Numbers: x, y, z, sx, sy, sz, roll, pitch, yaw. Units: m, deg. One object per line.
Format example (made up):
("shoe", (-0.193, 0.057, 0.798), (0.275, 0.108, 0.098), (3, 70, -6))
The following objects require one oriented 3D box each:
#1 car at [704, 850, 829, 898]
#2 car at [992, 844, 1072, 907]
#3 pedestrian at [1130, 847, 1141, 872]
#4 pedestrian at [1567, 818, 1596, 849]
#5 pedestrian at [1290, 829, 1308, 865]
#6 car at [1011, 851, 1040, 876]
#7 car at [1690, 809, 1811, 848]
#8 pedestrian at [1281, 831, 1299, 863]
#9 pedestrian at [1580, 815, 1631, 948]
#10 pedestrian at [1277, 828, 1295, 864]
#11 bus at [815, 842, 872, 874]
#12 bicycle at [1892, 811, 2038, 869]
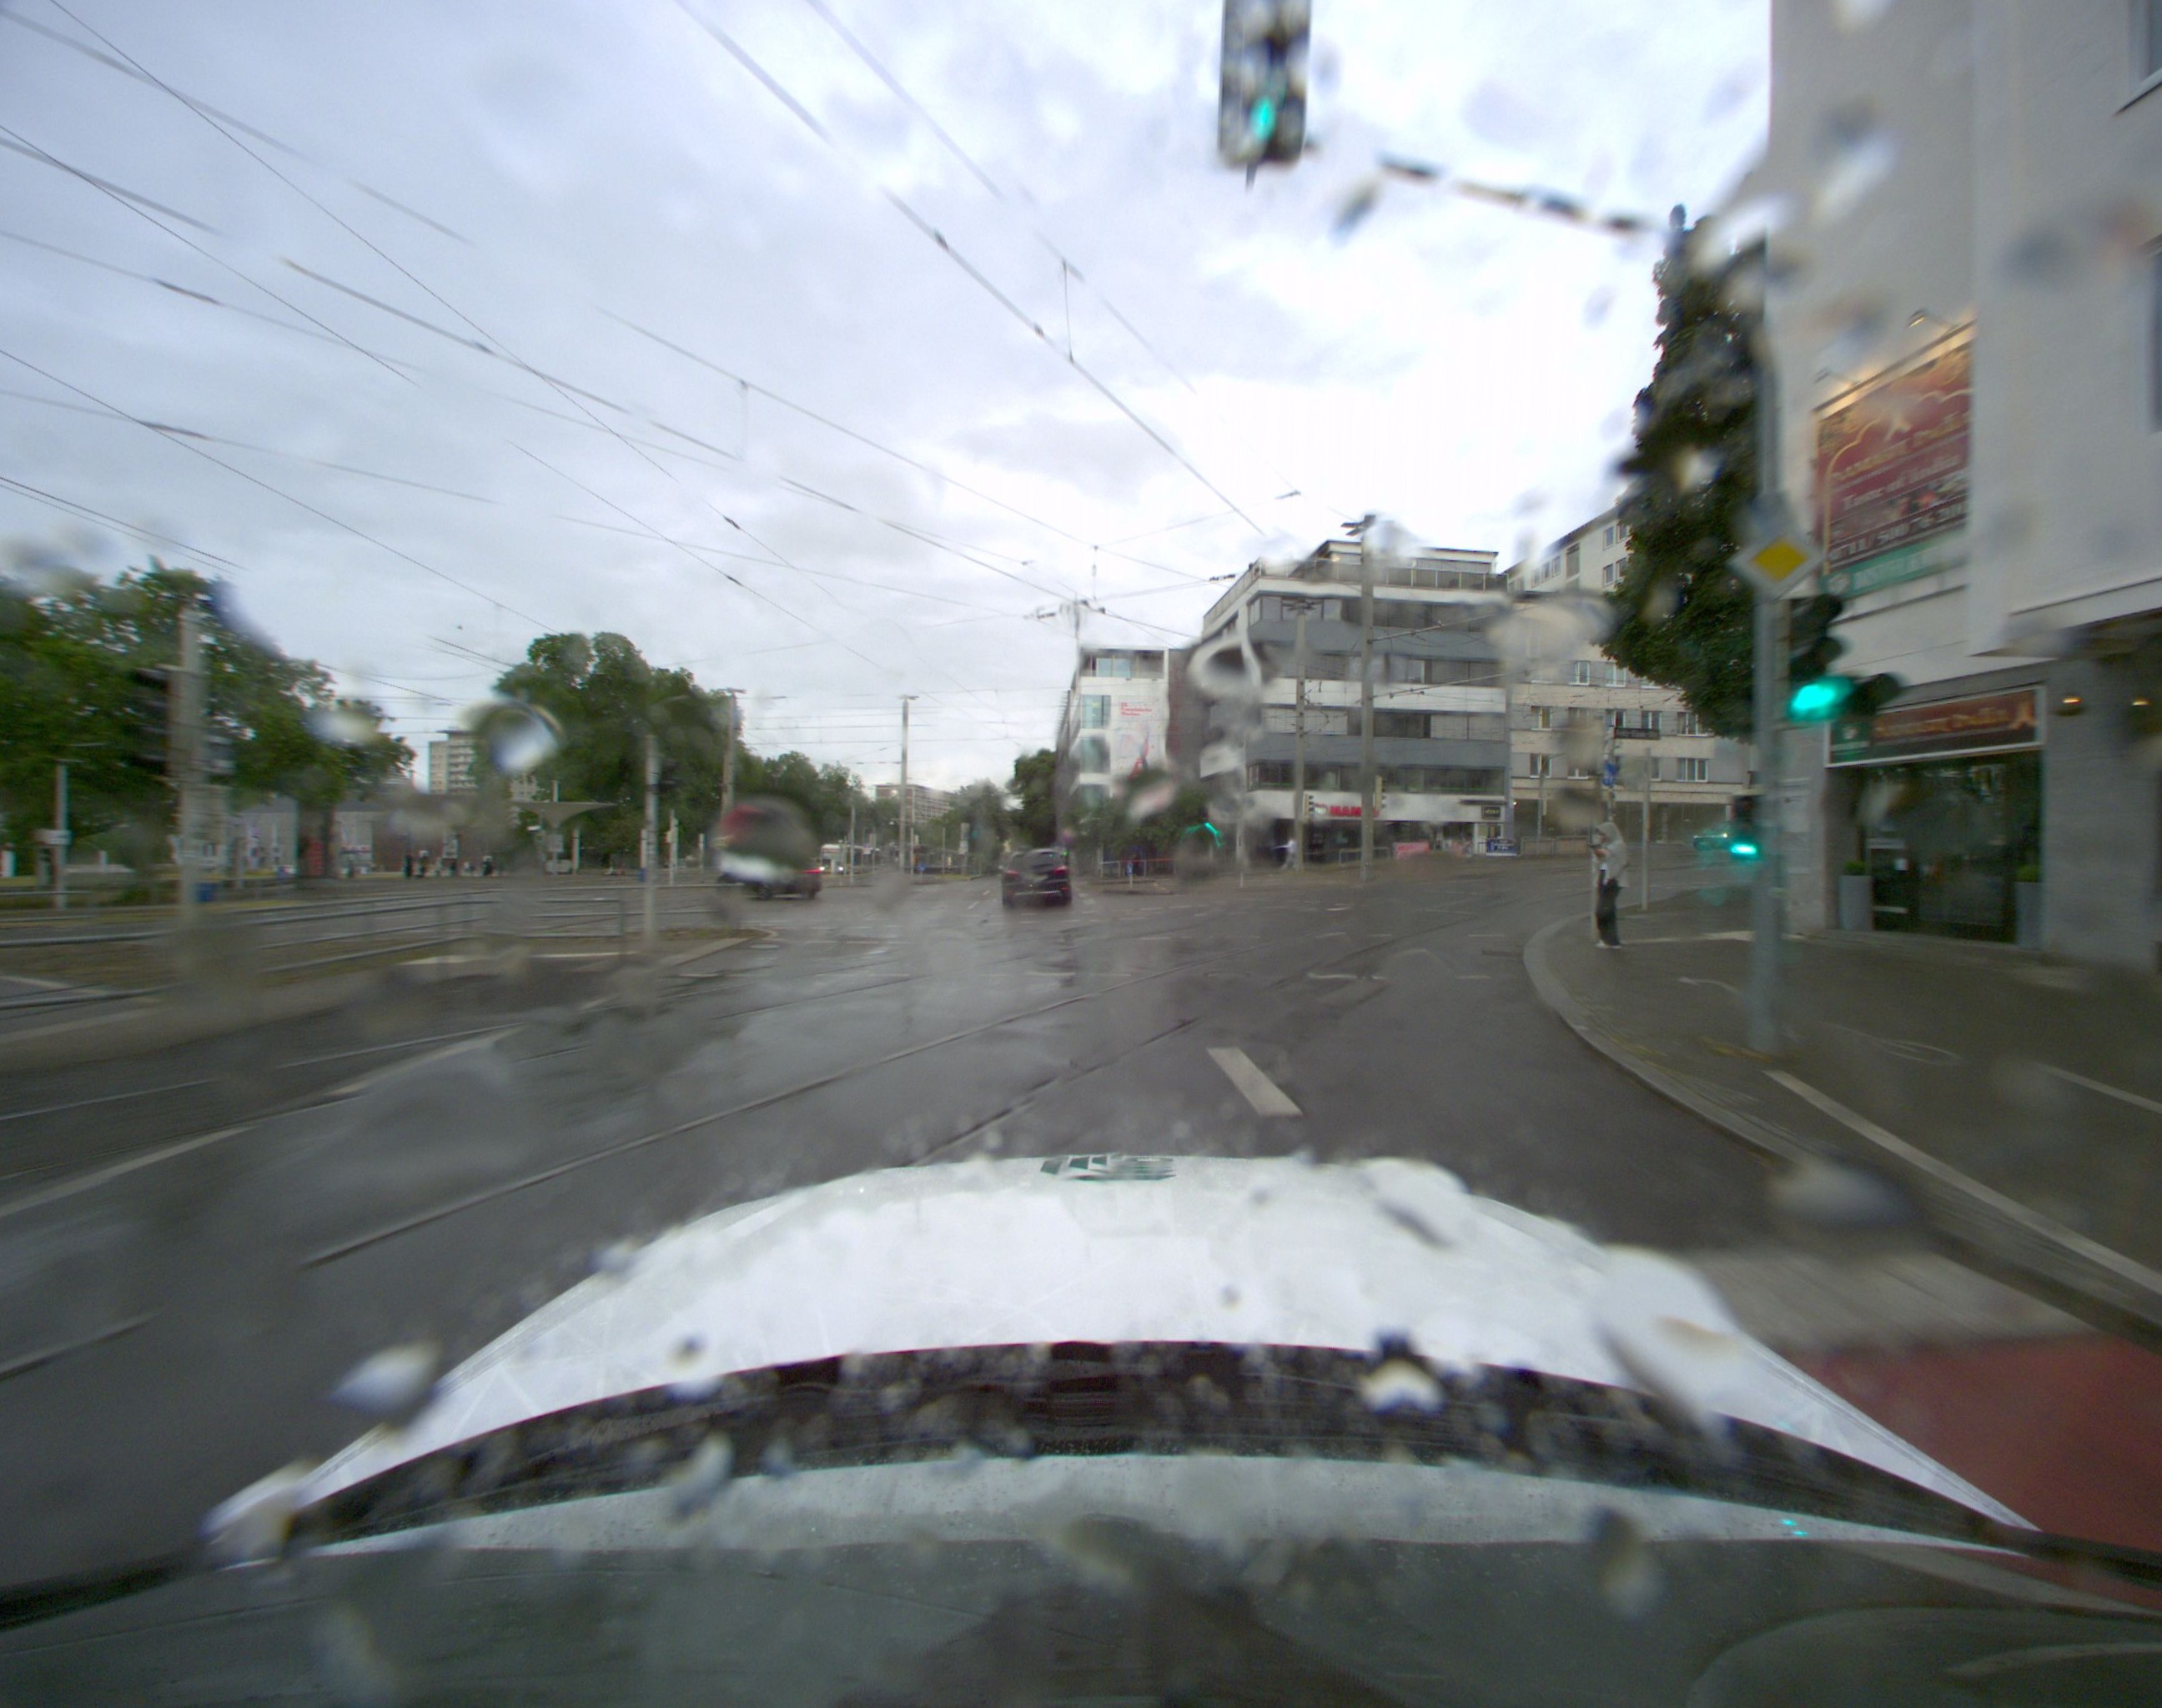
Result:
("car", (-11.043, 0.656, 28.433), (4.671, 1.505, 2.119), (-1, 0, 41))
("car", (-1.369, 0.528, 23.046), (2.031, 1.584, 4.387), (0, 1, -3))
("pedestrian", (3.448, 0.348, 51.517), (0.537, 1.563, 0.524), (-1, 0, 17))
("pedestrian", (27.840, -1.120, 45.325), (0.994, 1.681, 0.888), (-2, 0, -7))
("pedestrian", (11.952, -0.389, 44.688), (0.710, 1.914, 0.702), (-1, 0, 35))
("car", (-4.246, 0.712, 62.797), (2.030, 1.839, 4.390), (0, 1, -1))
("car", (32.824, -1.239, 39.979), (4.508, 1.673, 1.995), (-3, 0, -7))
("pedestrian", (11.713, -0.387, 45.585), (0.710, 1.761, 0.702), (-1, 0, 42))
("pedestrian", (7.024, 0.345, 10.894), (0.522, 1.712, 0.710), (-1, 0, 35))
("pedestrian", (11.154, -0.419, 44.221), (0.710, 1.914, 0.702), (-1, 0, 35))
("bus", (-26.707, 0.421, 92.341), (3.069, 3.300, 12.514), (-1, 0, -2))
("bicycle", (19.471, -0.297, 18.032), (0.646, 1.174, 2.321), (-1, 0, -3))
